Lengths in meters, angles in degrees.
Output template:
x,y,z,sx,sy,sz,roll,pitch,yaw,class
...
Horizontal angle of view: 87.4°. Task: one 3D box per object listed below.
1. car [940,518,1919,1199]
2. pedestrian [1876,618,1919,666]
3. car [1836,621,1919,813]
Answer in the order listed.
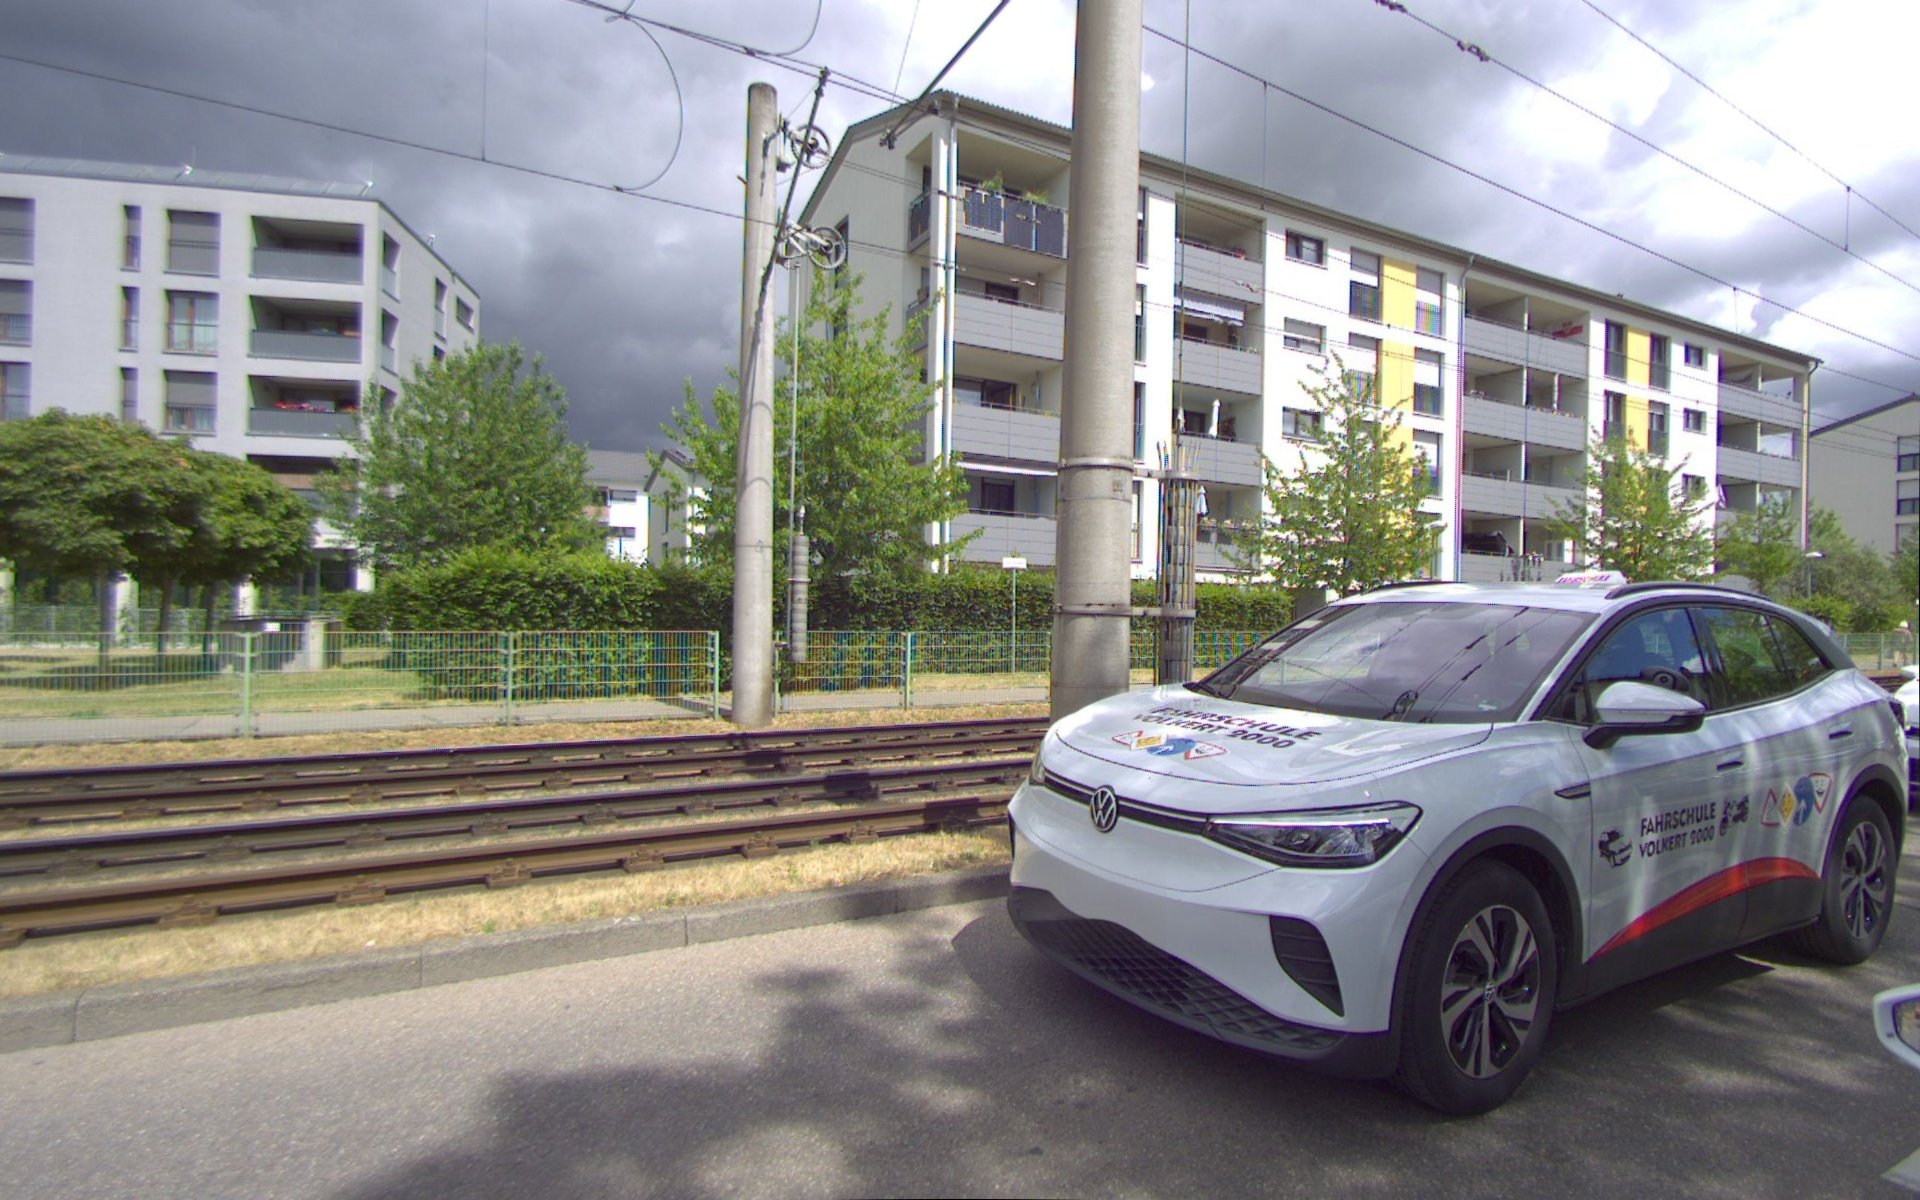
x,y,z,sx,sy,sz,roll,pitch,yaw,class
2.273,0.693,4.288,4.383,1.713,1.848,1,0,-31,car
30.347,1.339,32.460,0.984,1.503,0.792,1,1,-29,pedestrian
9.061,0.917,8.228,3.895,1.425,1.738,1,0,-31,car
